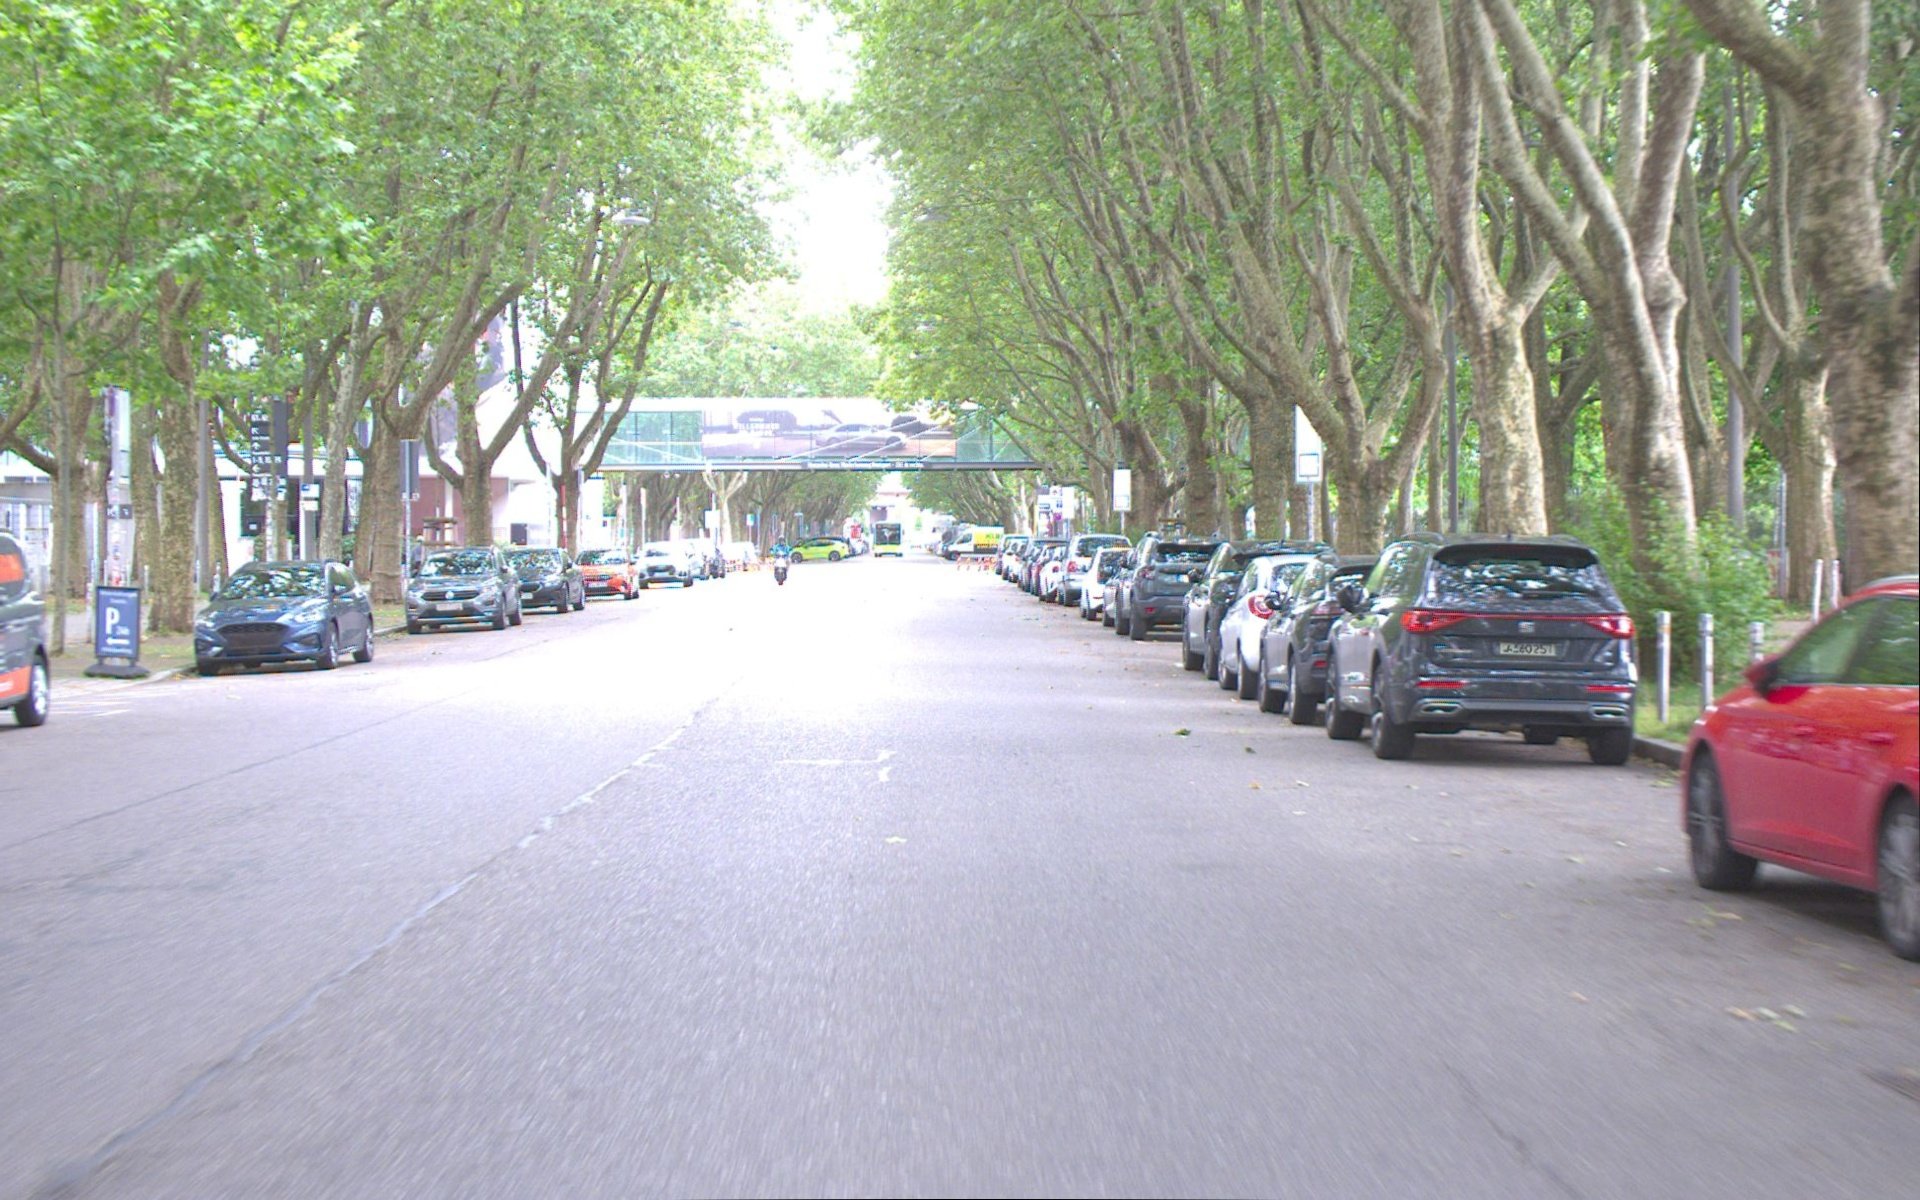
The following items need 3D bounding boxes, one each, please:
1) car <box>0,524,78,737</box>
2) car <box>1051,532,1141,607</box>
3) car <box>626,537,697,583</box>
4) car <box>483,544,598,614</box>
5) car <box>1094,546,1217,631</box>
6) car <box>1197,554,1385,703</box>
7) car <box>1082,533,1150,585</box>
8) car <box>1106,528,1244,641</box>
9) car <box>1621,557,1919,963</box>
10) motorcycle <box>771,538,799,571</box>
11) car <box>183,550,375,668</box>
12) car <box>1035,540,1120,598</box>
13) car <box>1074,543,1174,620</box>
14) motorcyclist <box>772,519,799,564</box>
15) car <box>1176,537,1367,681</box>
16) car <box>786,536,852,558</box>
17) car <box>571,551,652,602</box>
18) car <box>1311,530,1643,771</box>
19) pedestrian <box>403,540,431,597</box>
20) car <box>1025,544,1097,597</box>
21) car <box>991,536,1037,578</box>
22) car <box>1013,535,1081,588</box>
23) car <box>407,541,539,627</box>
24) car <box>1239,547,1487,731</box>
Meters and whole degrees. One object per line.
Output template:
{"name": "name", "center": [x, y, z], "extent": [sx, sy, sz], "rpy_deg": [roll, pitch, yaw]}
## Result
{"name": "car", "center": [-8.858, 0.273, 28.489], "extent": [1.949, 1.744, 4.639], "rpy_deg": [-2, 1, -1]}
{"name": "car", "center": [3.209, -0.743, 81.823], "extent": [1.903, 1.733, 4.507], "rpy_deg": [0, 1, -1]}
{"name": "car", "center": [-10.224, -1.399, 118.102], "extent": [2.073, 1.557, 4.756], "rpy_deg": [0, 1, 0]}
{"name": "car", "center": [-9.193, -0.489, 75.629], "extent": [1.827, 1.460, 4.627], "rpy_deg": [-1, 1, 2]}
{"name": "car", "center": [3.434, -0.231, 61.124], "extent": [1.707, 1.410, 4.362], "rpy_deg": [1, 1, -3]}
{"name": "car", "center": [3.492, 0.268, 36.796], "extent": [1.616, 1.436, 3.710], "rpy_deg": [2, 1, 0]}
{"name": "car", "center": [4.751, -1.273, 105.299], "extent": [1.802, 1.550, 4.001], "rpy_deg": [0, 1, -1]}
{"name": "car", "center": [3.409, -0.275, 55.243], "extent": [1.707, 1.692, 4.631], "rpy_deg": [2, 1, -2]}
{"name": "car", "center": [4.220, 0.590, 14.142], "extent": [1.716, 1.433, 4.630], "rpy_deg": [2, 1, -5]}
{"name": "motorcycle", "center": [-5.851, -1.527, 114.757], "extent": [0.873, 1.075, 3.053], "rpy_deg": [0, 1, -4]}
{"name": "car", "center": [-9.116, 0.084, 46.350], "extent": [1.724, 1.481, 4.575], "rpy_deg": [0, 1, -1]}
{"name": "car", "center": [2.966, -0.800, 87.662], "extent": [1.877, 1.422, 4.586], "rpy_deg": [0, 1, -1]}
{"name": "car", "center": [3.222, -0.388, 68.075], "extent": [1.707, 1.422, 3.889], "rpy_deg": [1, 1, -1]}
{"name": "motorcyclist", "center": [-5.836, -1.957, 114.751], "extent": [0.870, 1.475, 1.265], "rpy_deg": [0, 1, -4]}
{"name": "car", "center": [3.757, 0.072, 42.163], "extent": [1.777, 1.667, 4.638], "rpy_deg": [0, 1, -2]}
{"name": "car", "center": [-10.320, -3.876, 251.411], "extent": [4.700, 1.579, 1.864], "rpy_deg": [0, 0, 1]}
{"name": "car", "center": [-9.442, -0.658, 93.402], "extent": [1.808, 1.349, 4.000], "rpy_deg": [0, 1, 0]}
{"name": "car", "center": [3.806, 0.310, 26.026], "extent": [1.755, 1.614, 4.439], "rpy_deg": [2, 1, -1]}
{"name": "pedestrian", "center": [-15.610, -0.913, 98.873], "extent": [0.592, 1.614, 0.791], "rpy_deg": [0, 1, 9]}
{"name": "car", "center": [2.887, -0.867, 98.711], "extent": [1.856, 1.476, 4.178], "rpy_deg": [0, 1, -1]}
{"name": "car", "center": [2.357, -1.888, 151.240], "extent": [1.847, 1.777, 5.211], "rpy_deg": [1, 1, -1]}
{"name": "car", "center": [2.811, -1.248, 112.281], "extent": [1.981, 1.674, 4.732], "rpy_deg": [0, 1, -1]}
{"name": "car", "center": [-9.058, -0.327, 64.169], "extent": [1.878, 1.521, 4.151], "rpy_deg": [-1, 1, 0]}
{"name": "car", "center": [3.604, 0.299, 31.385], "extent": [1.668, 1.504, 4.354], "rpy_deg": [2, 1, -1]}
